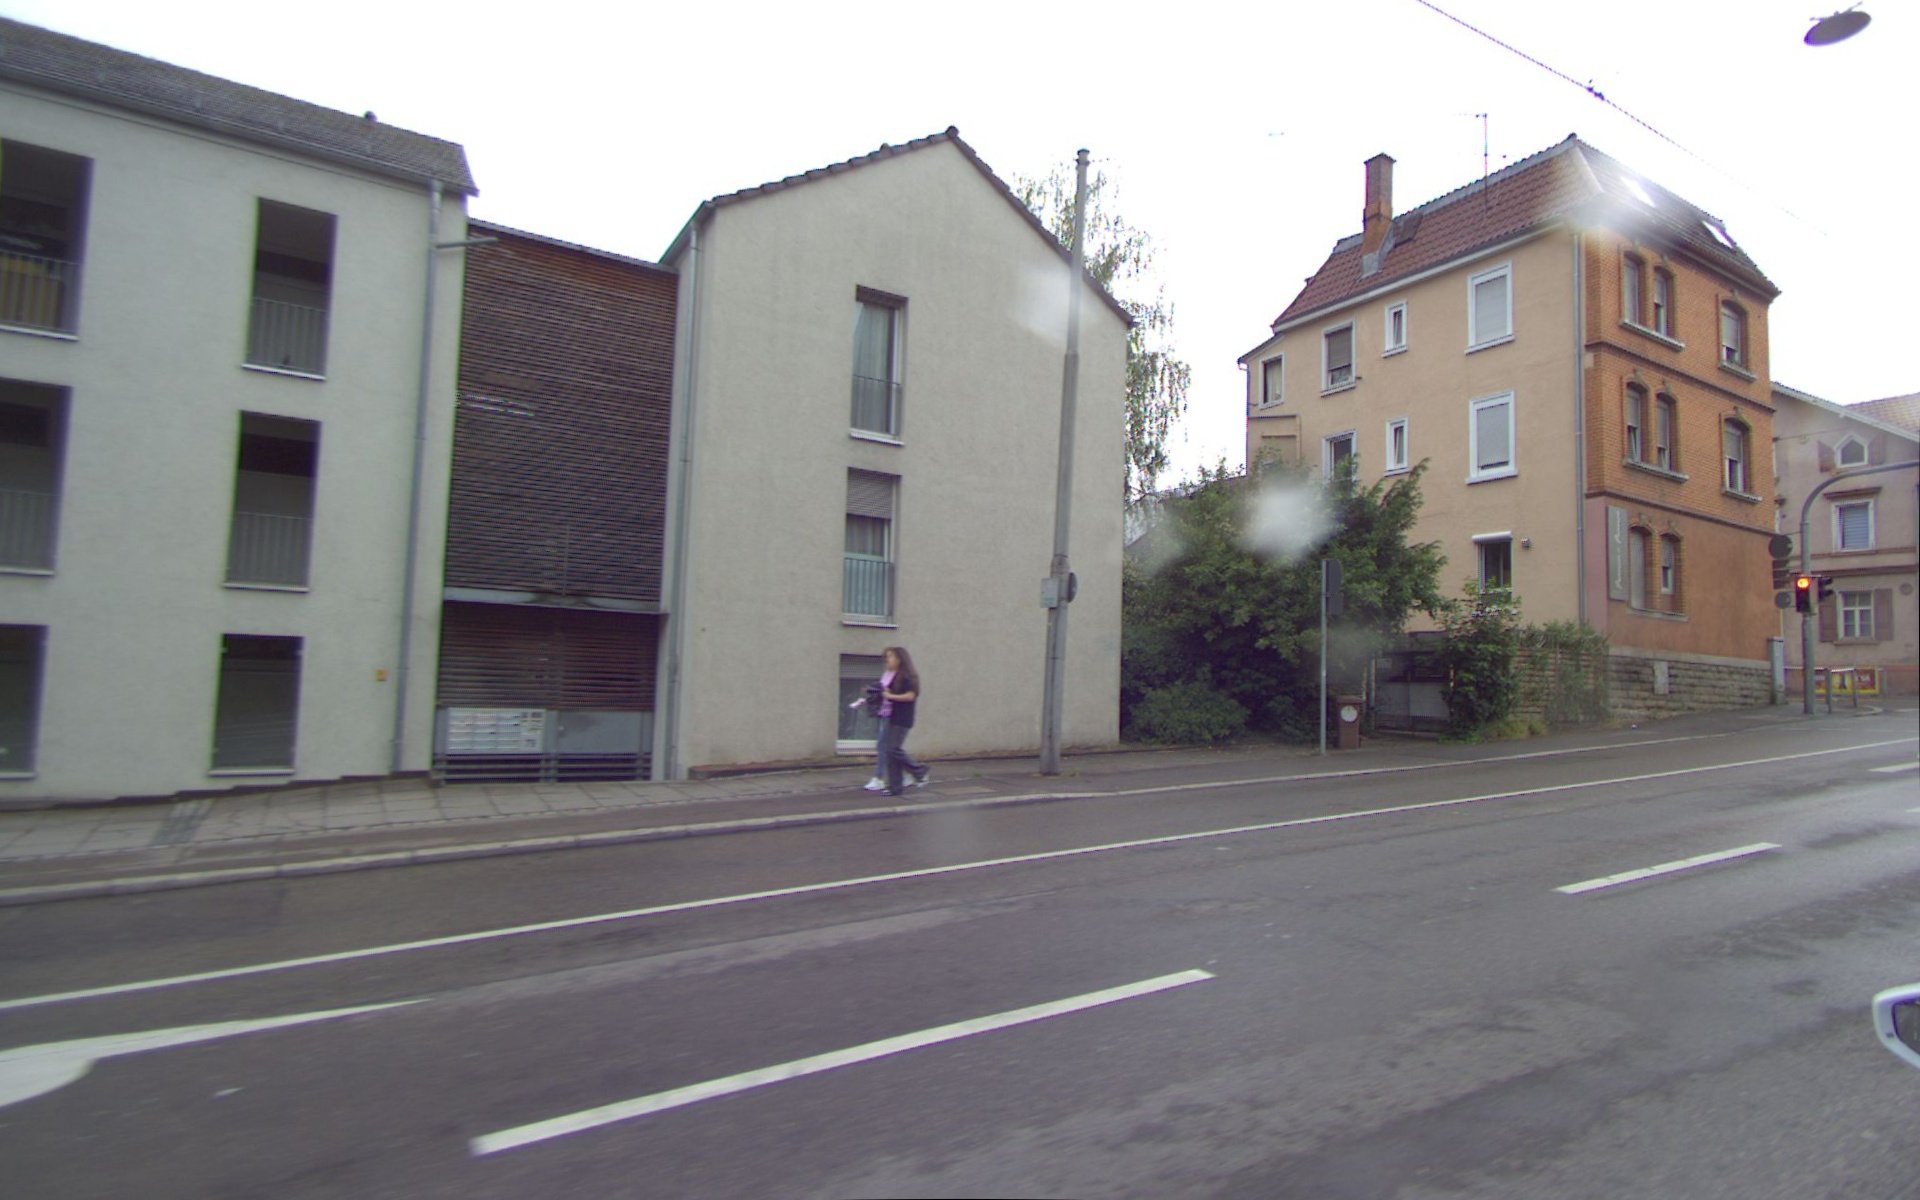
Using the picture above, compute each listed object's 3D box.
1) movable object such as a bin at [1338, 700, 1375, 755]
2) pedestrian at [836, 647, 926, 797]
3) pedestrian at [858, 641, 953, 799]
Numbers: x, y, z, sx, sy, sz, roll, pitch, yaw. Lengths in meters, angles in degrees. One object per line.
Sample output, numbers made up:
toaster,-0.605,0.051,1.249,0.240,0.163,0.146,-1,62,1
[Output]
movable object such as a bin,7.039,2.253,17.826,0.521,0.937,0.406,3,-4,-37
pedestrian,-0.953,1.443,12.145,0.900,1.728,0.637,2,-4,-30
pedestrian,-0.629,1.343,11.549,0.900,1.728,0.637,2,-4,-30
